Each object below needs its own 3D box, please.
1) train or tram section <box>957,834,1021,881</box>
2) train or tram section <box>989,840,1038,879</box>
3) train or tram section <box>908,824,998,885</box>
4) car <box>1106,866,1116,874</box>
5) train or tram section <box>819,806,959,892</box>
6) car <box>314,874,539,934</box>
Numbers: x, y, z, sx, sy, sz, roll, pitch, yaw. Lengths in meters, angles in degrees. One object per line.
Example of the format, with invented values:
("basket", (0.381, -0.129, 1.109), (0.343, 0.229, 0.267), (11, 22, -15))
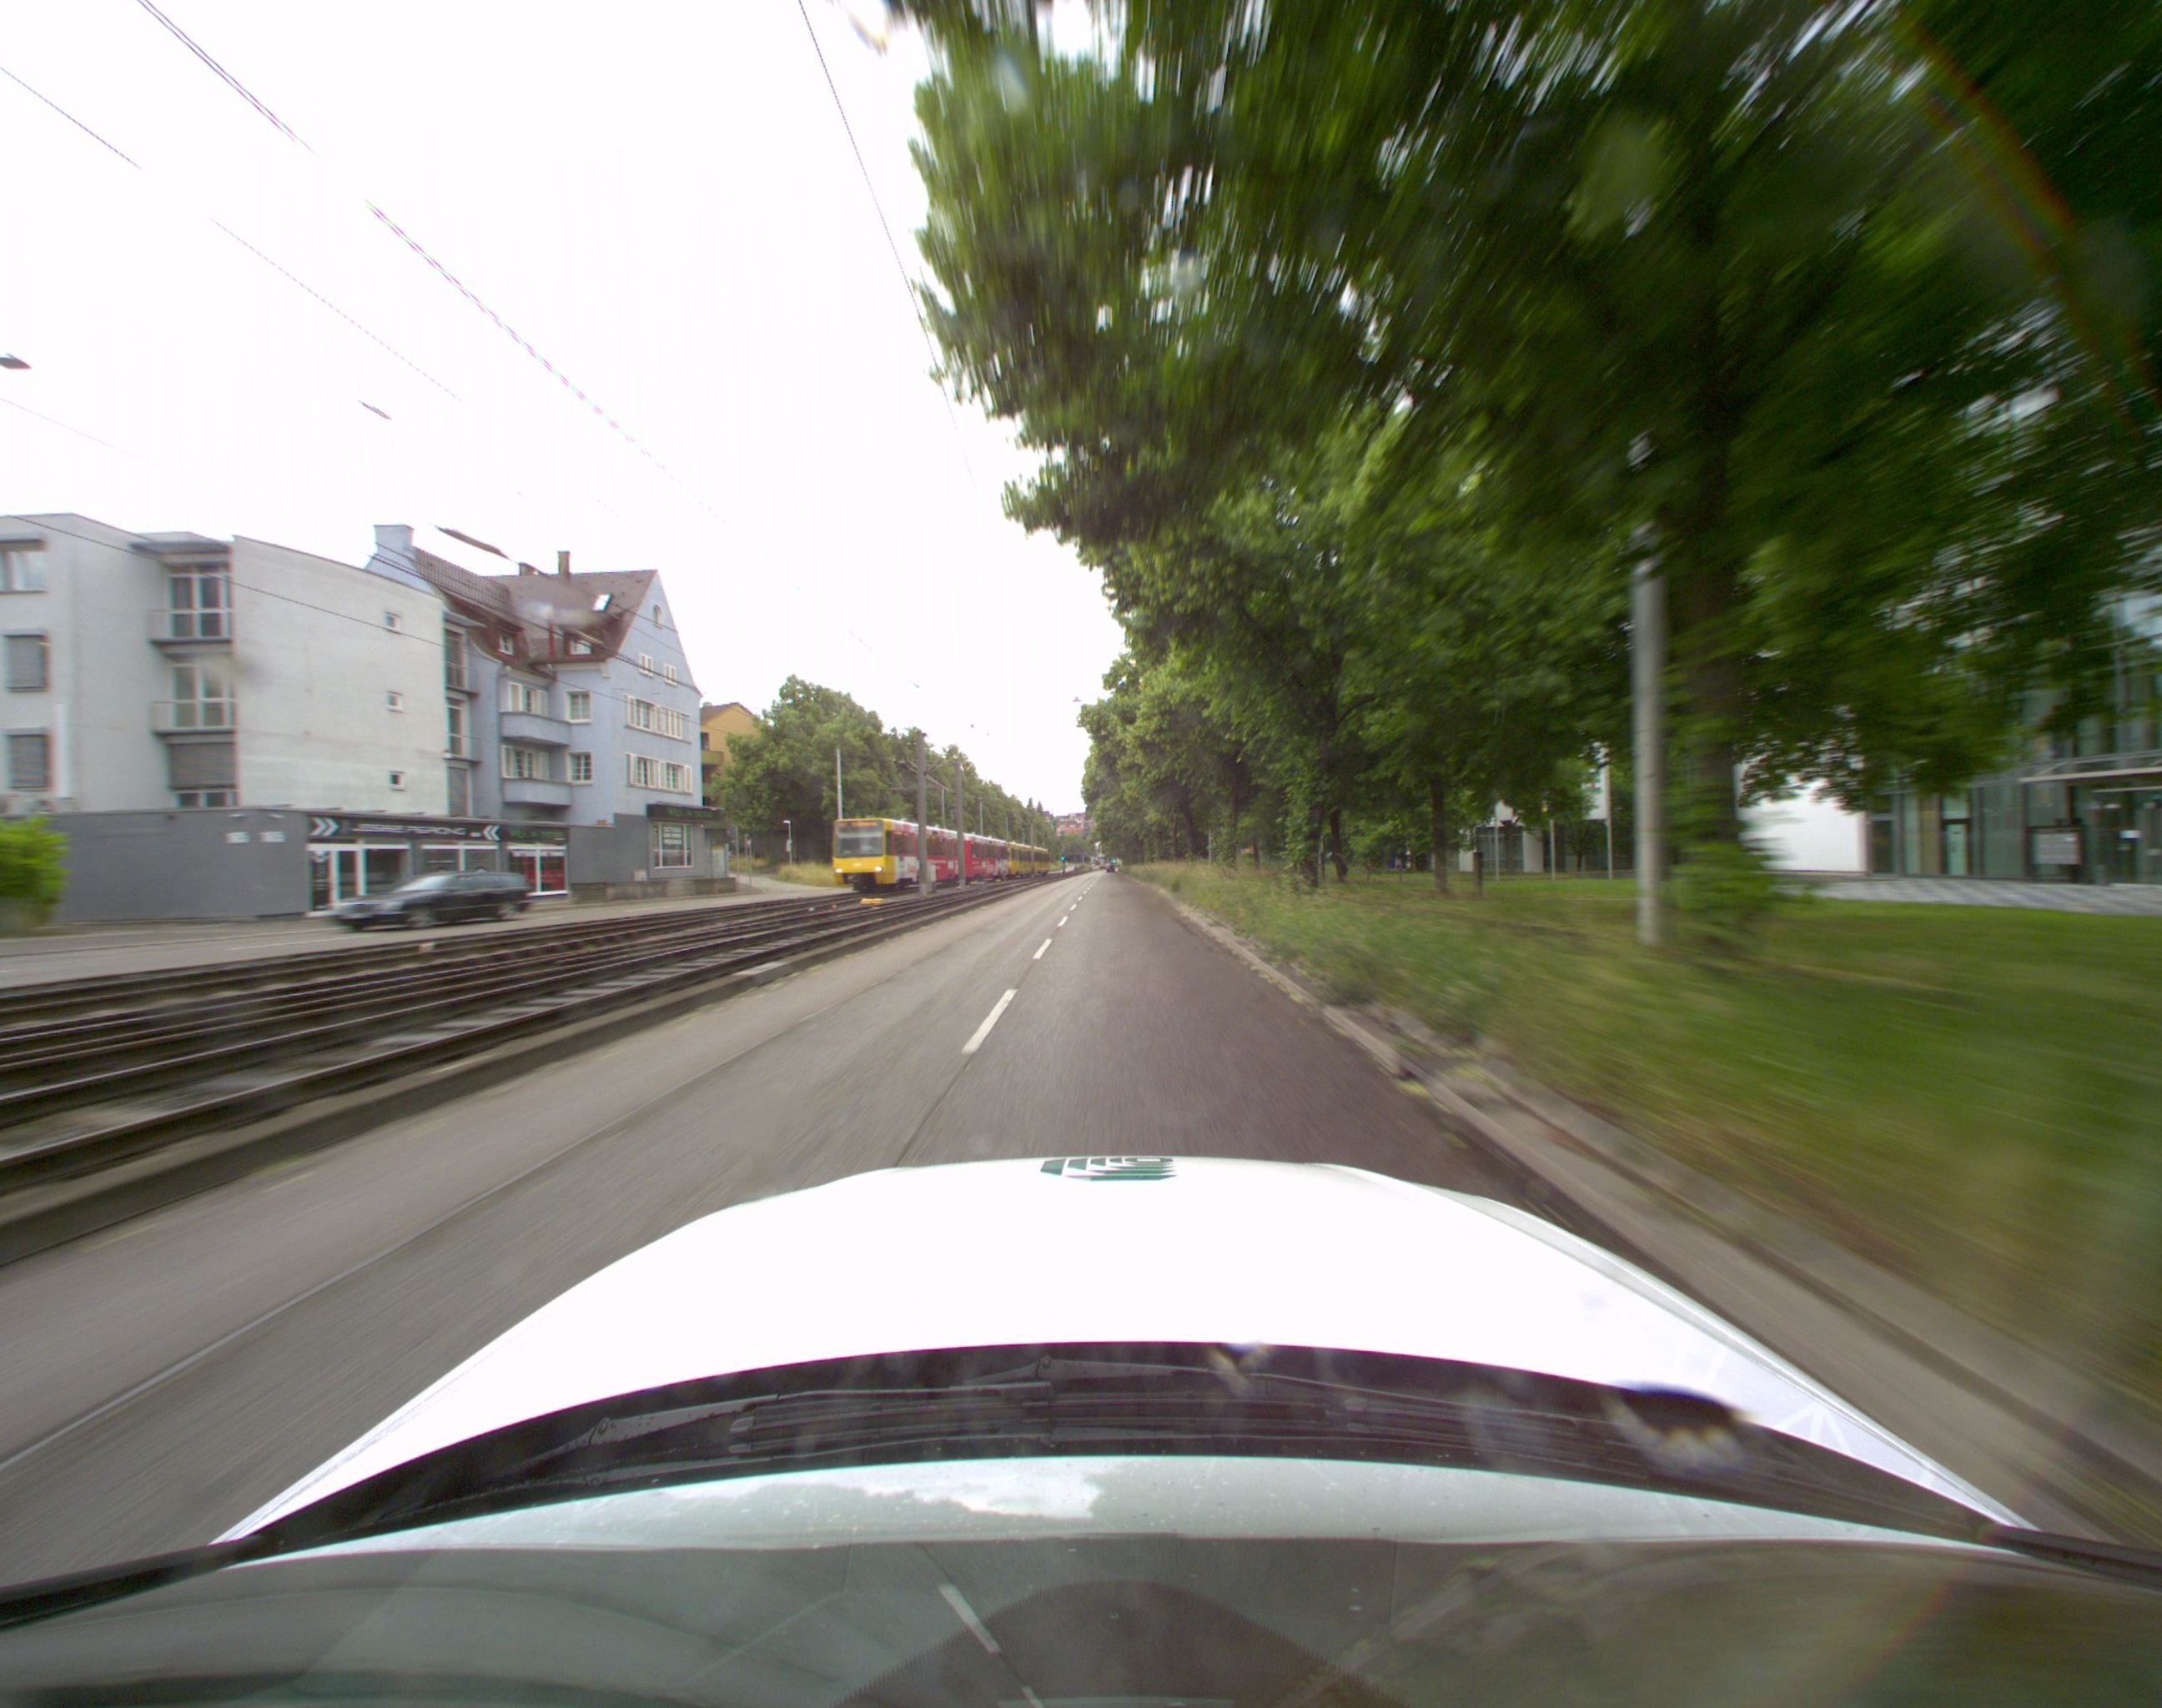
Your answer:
("train or tram section", (-8.025, 0.400, 73.911), (3.201, 3.796, 14.801), (-2, -1, 3))
("train or tram section", (-7.158, 0.655, 89.361), (3.201, 3.796, 14.801), (-2, -1, 3))
("train or tram section", (-8.891, 0.131, 59.073), (3.201, 3.796, 14.801), (-2, -1, 3))
("car", (6.042, 3.133, 162.285), (1.974, 1.440, 4.476), (-2, 0, 2))
("train or tram section", (-9.812, -0.130, 44.235), (3.201, 3.796, 14.801), (-2, -1, 3))
("car", (-17.139, 1.238, 21.723), (1.894, 1.325, 4.830), (-2, -1, 3))
